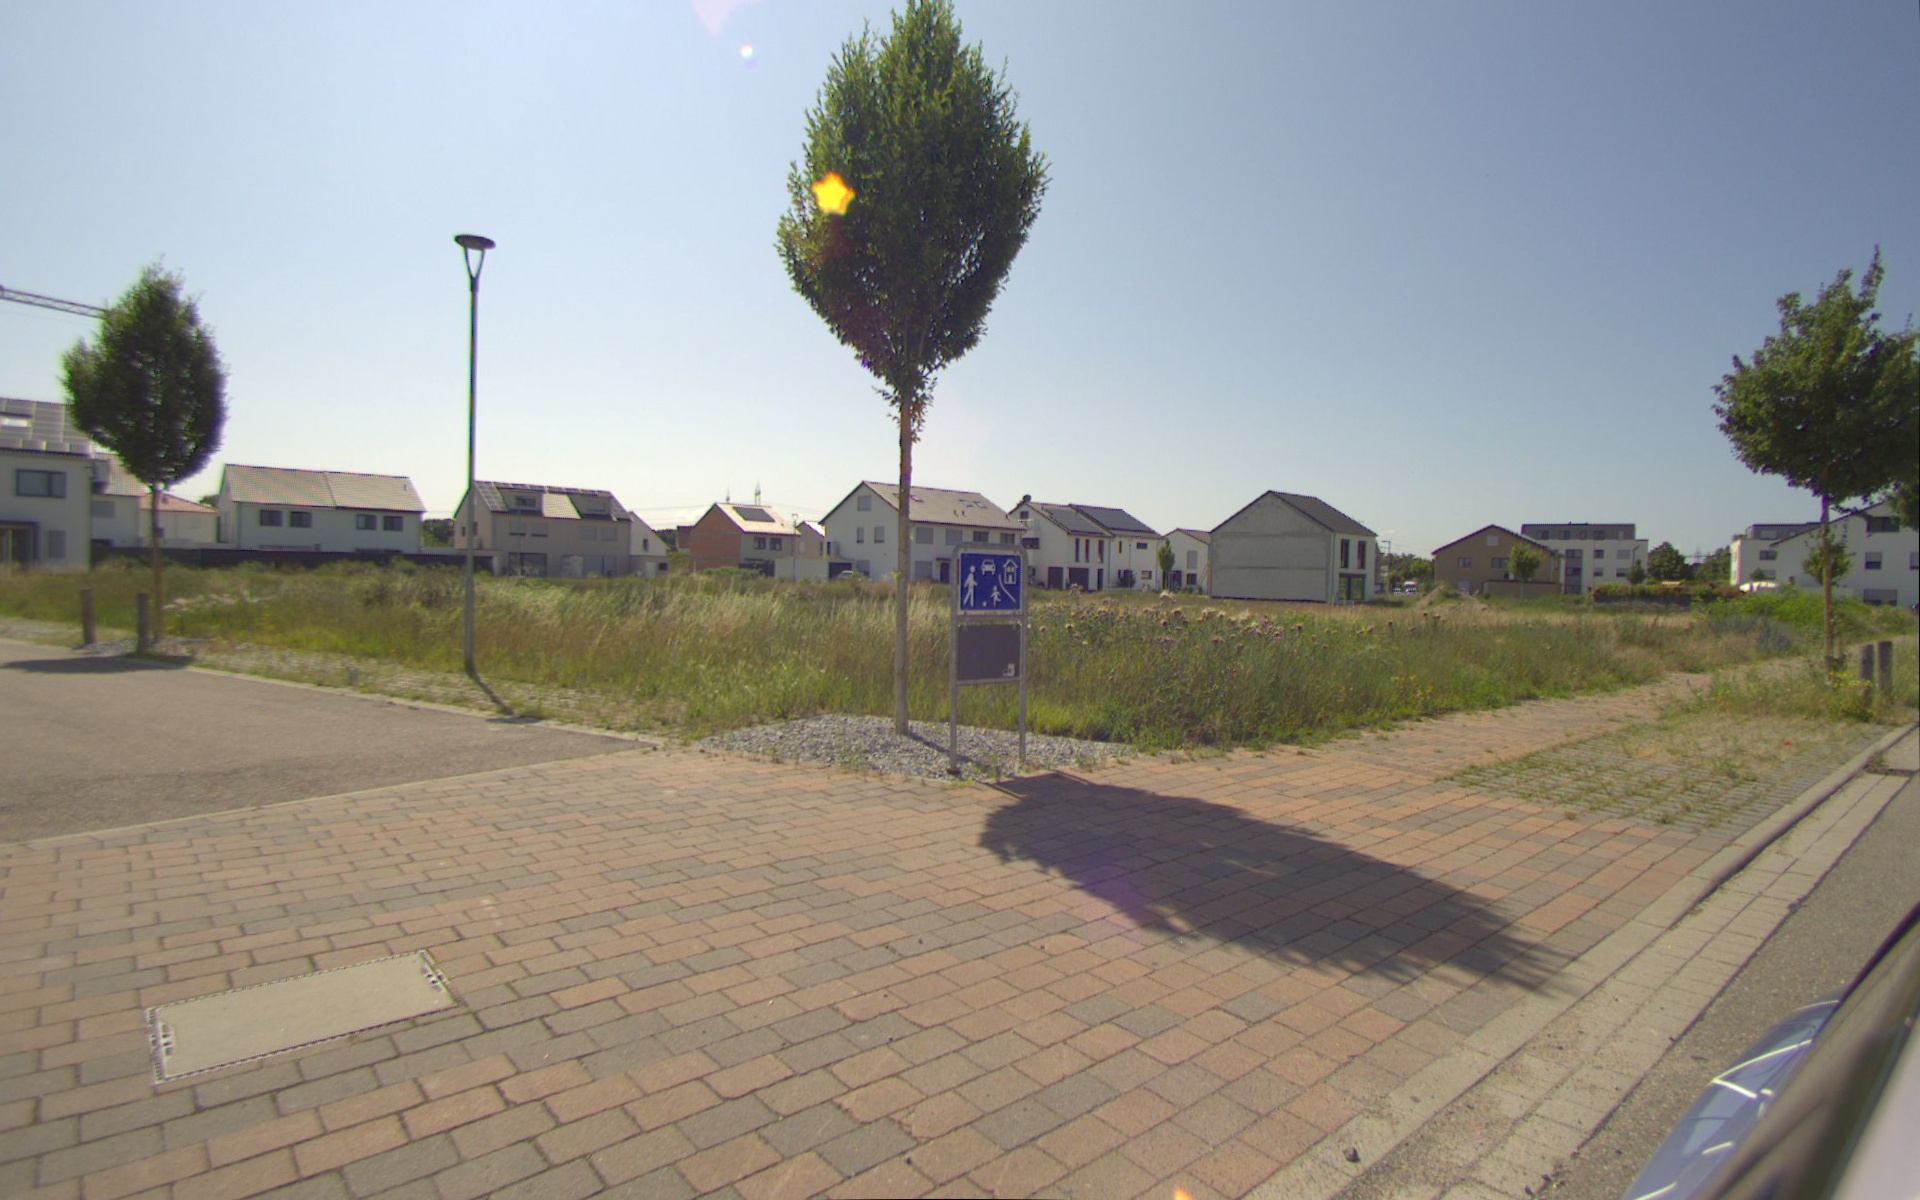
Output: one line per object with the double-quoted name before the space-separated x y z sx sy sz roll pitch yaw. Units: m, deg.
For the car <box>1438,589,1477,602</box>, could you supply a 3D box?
"car" 60.214 -0.562 122.466 3.983 1.471 1.611 2 1 41
